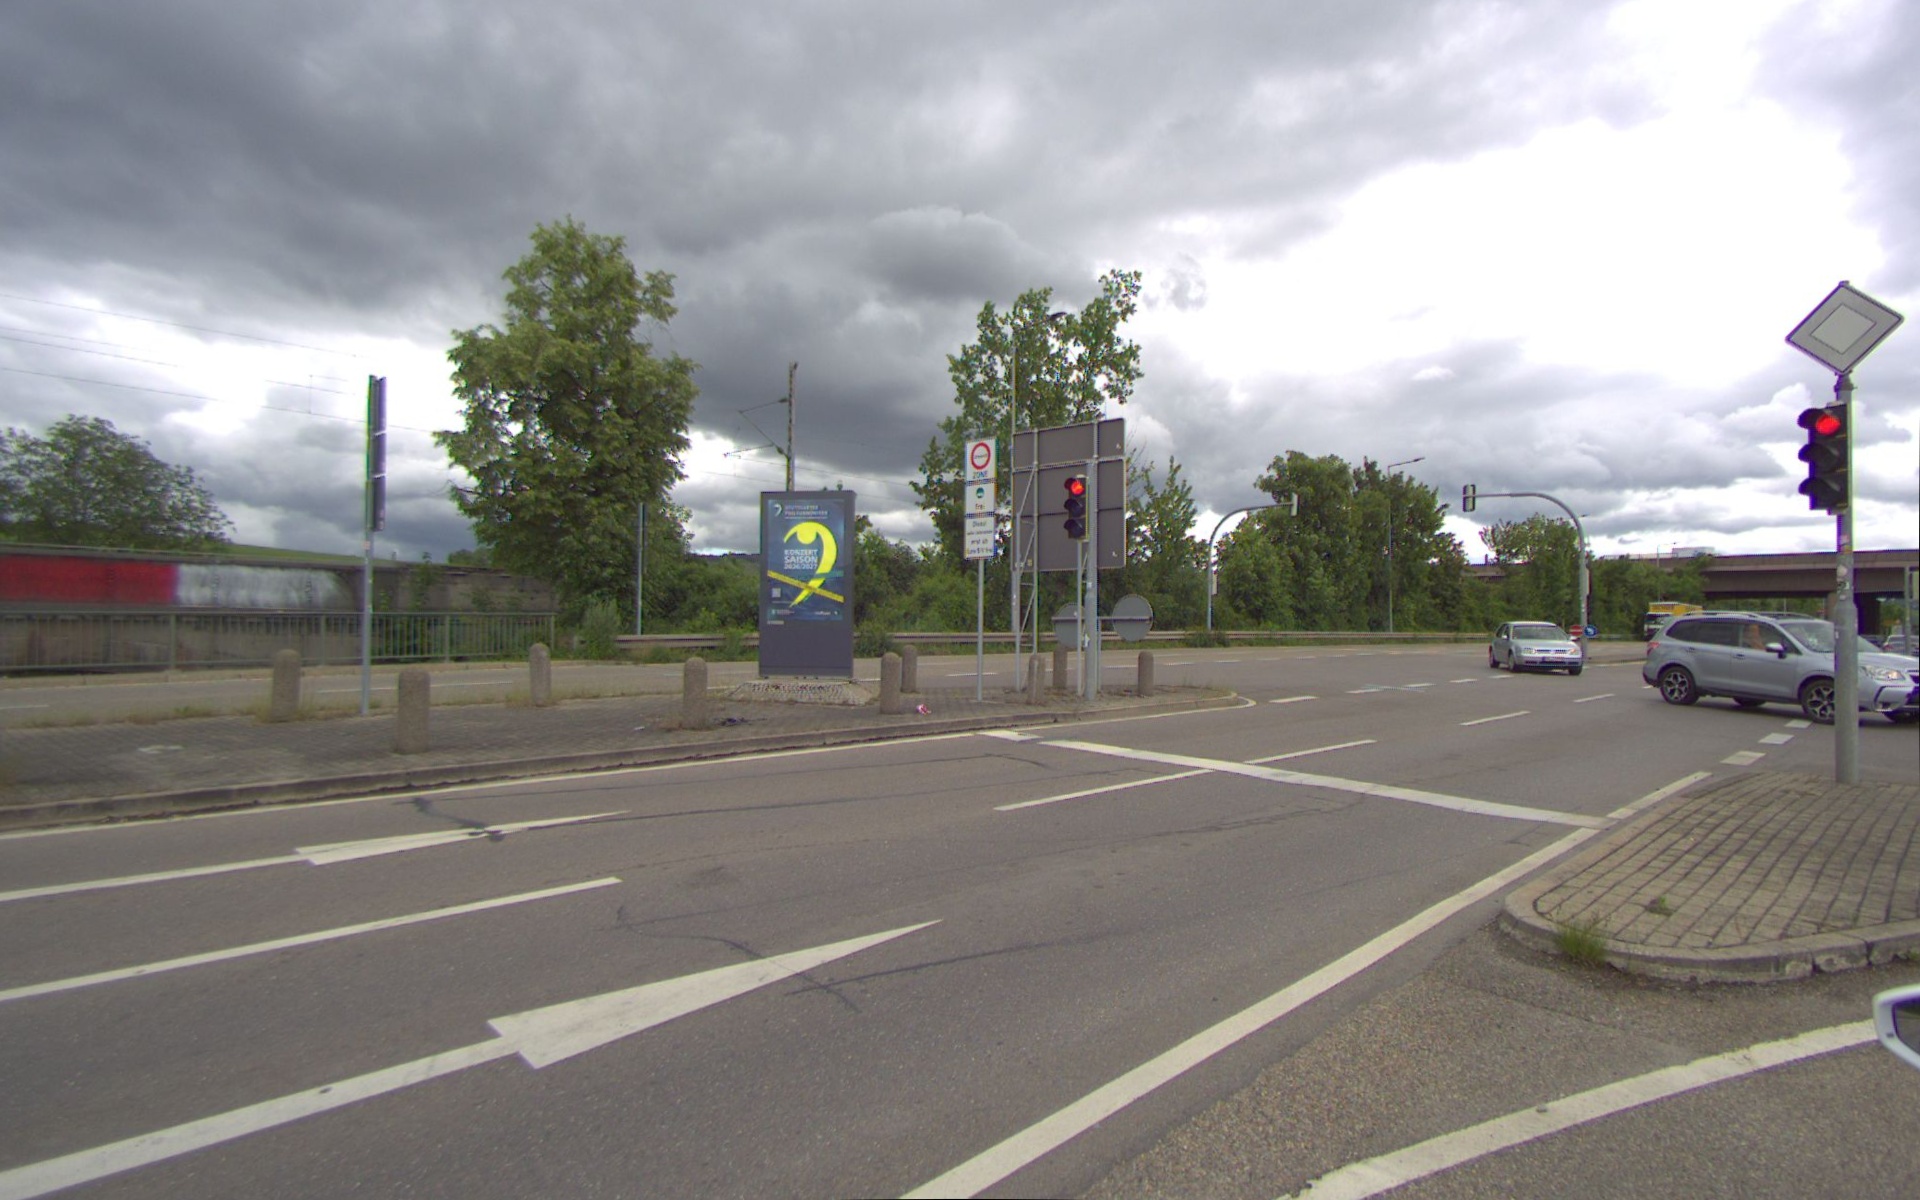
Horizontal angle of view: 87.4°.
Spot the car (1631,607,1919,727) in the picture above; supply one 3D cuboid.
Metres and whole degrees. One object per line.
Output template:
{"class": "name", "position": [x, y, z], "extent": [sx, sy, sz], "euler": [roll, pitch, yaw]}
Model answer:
{"class": "car", "position": [14.068, 1.025, 17.159], "extent": [1.698, 1.760, 4.549], "euler": [0, -1, -9]}

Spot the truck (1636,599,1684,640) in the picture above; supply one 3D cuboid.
{"class": "truck", "position": [74.399, 2.013, 106.707], "extent": [6.442, 4.139, 2.843], "euler": [1, 1, -44]}

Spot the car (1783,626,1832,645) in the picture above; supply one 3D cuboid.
{"class": "car", "position": [99.996, 4.211, 118.617], "extent": [1.965, 1.885, 3.991], "euler": [2, 2, -11]}

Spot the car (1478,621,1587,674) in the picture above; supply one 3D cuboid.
{"class": "car", "position": [16.492, 1.321, 29.139], "extent": [1.695, 1.419, 4.069], "euler": [0, -1, 14]}

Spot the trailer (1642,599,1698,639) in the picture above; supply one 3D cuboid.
{"class": "trailer", "position": [78.100, 2.098, 110.315], "extent": [11.348, 4.139, 2.843], "euler": [1, 1, -44]}

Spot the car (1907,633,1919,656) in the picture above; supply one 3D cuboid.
{"class": "car", "position": [66.692, 3.098, 69.141], "extent": [4.082, 1.483, 1.975], "euler": [4, -2, -43]}

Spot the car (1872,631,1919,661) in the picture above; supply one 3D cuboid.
{"class": "car", "position": [50.807, 2.493, 54.256], "extent": [4.083, 1.461, 1.974], "euler": [4, -2, -44]}

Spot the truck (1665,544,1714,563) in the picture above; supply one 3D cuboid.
{"class": "truck", "position": [98.938, -6.294, 136.273], "extent": [1.972, 2.352, 5.047], "euler": [1, 0, -24]}
